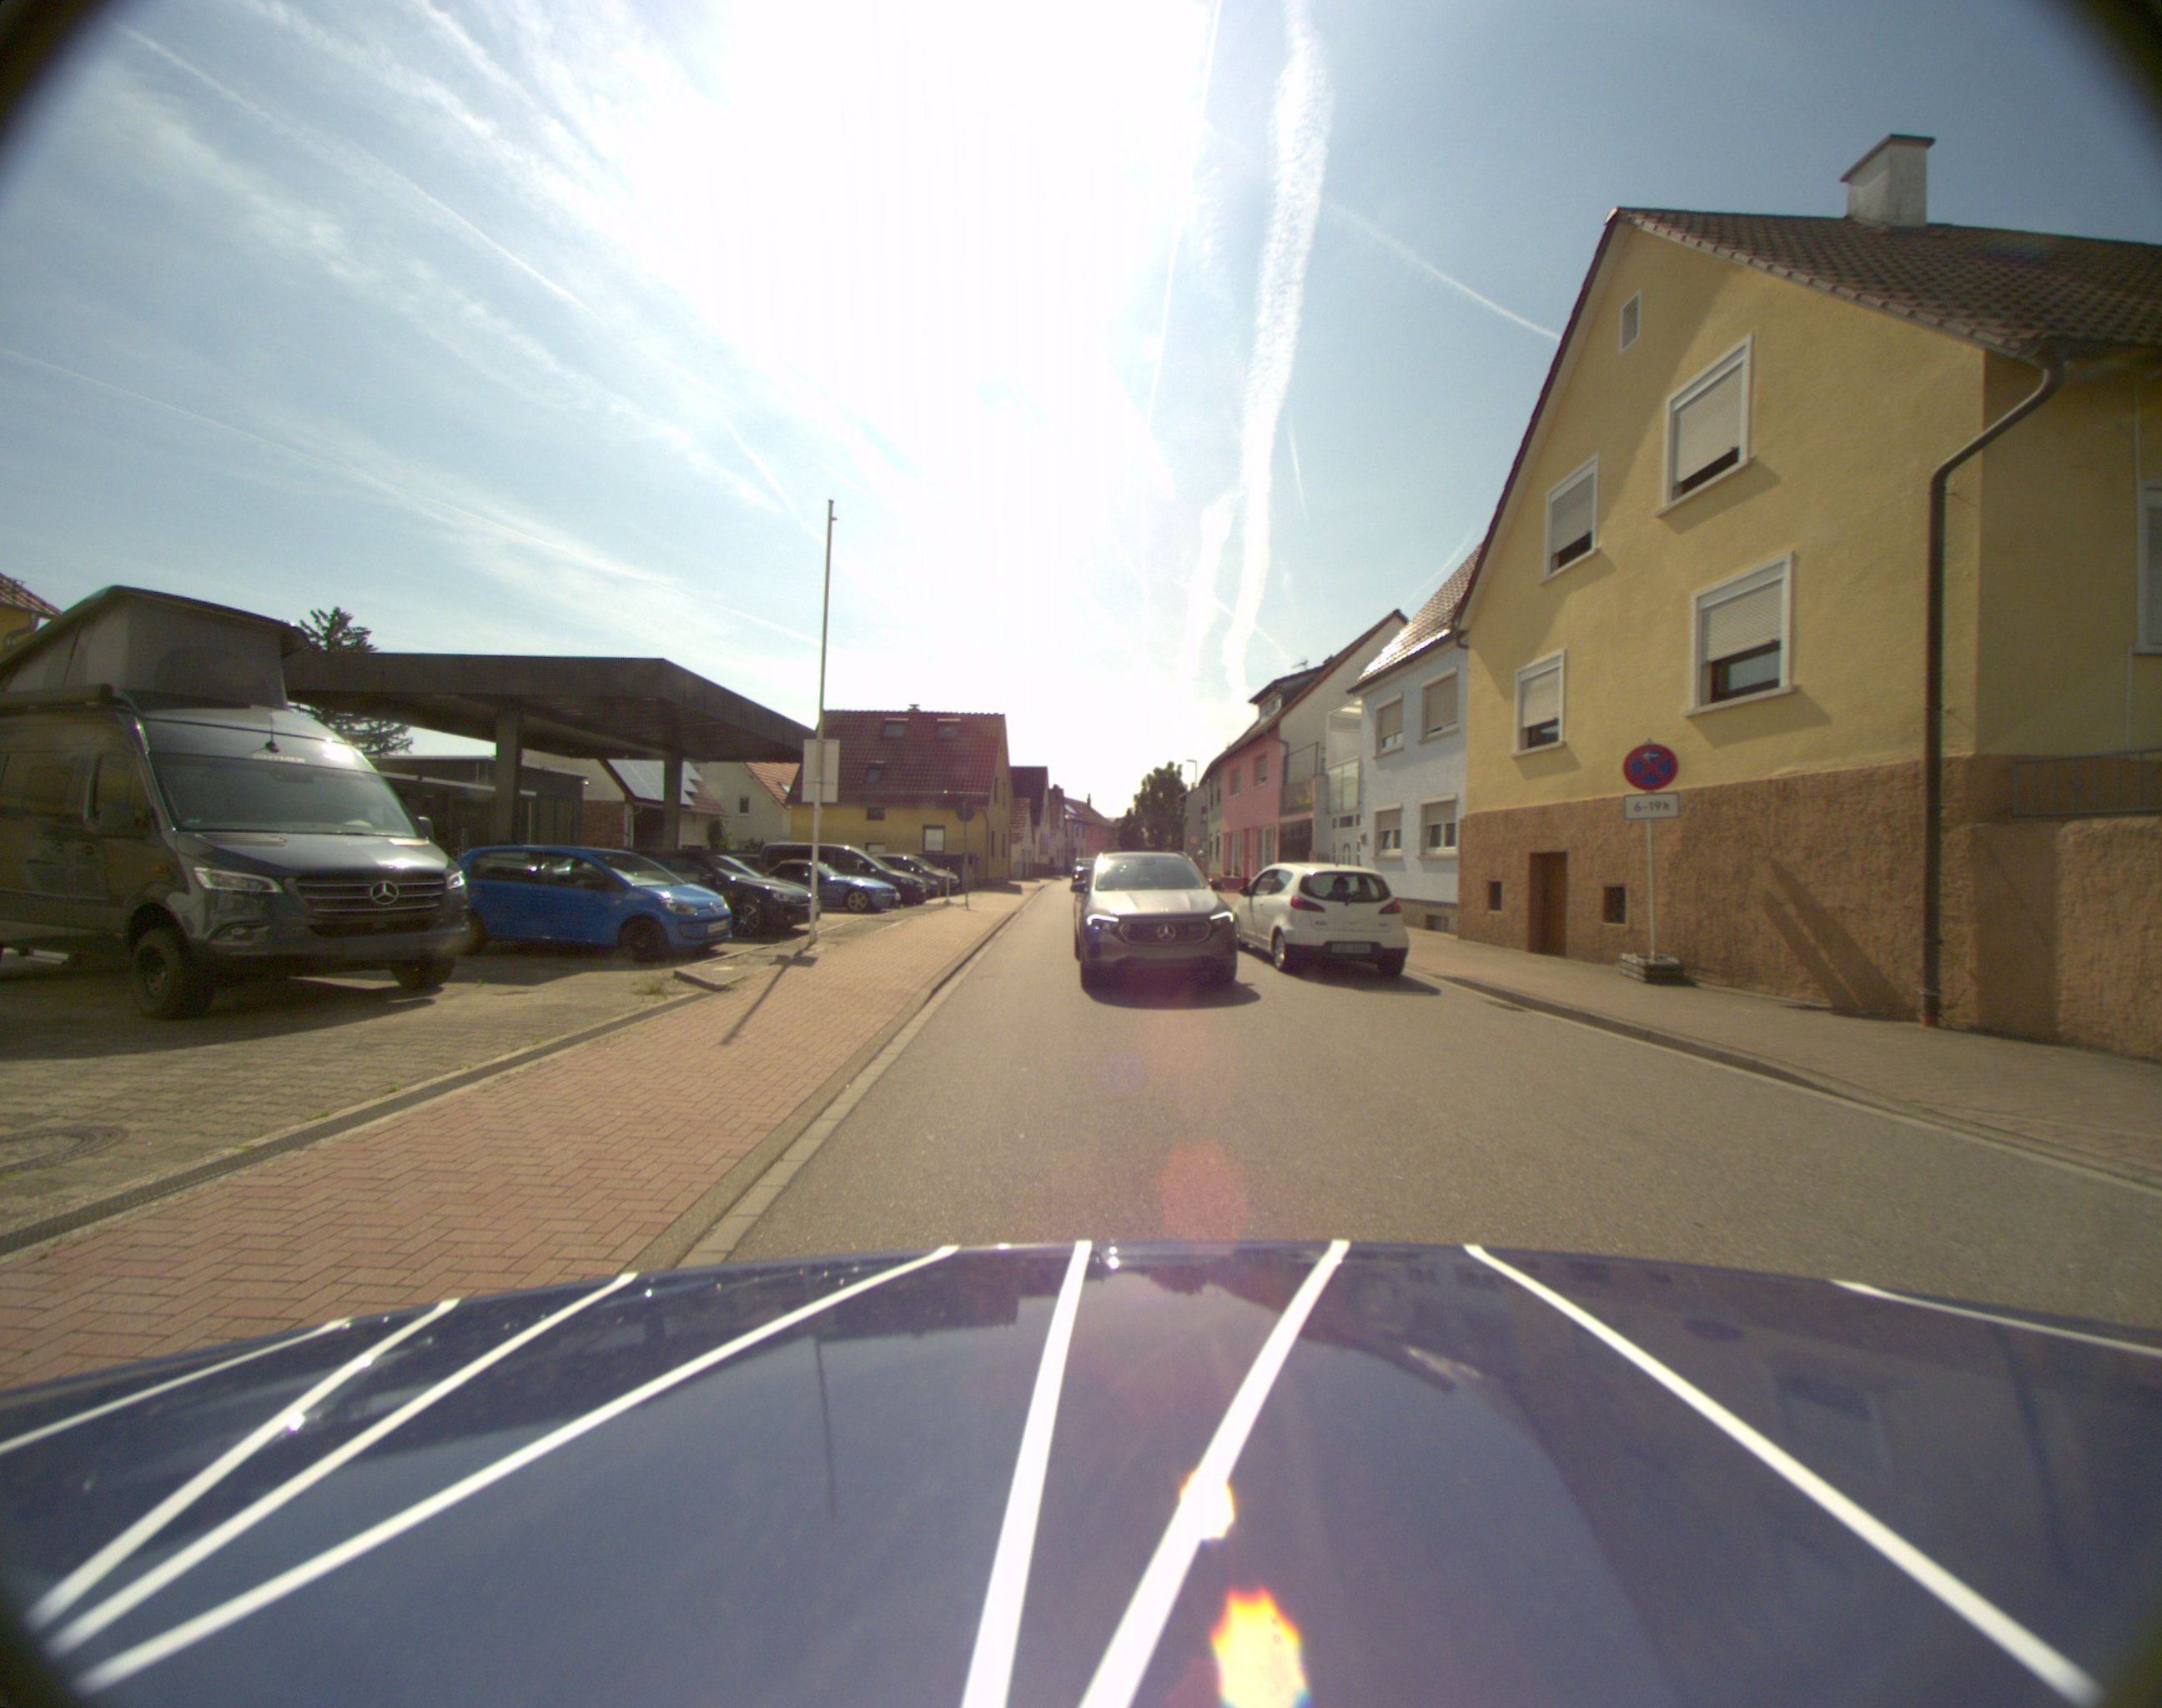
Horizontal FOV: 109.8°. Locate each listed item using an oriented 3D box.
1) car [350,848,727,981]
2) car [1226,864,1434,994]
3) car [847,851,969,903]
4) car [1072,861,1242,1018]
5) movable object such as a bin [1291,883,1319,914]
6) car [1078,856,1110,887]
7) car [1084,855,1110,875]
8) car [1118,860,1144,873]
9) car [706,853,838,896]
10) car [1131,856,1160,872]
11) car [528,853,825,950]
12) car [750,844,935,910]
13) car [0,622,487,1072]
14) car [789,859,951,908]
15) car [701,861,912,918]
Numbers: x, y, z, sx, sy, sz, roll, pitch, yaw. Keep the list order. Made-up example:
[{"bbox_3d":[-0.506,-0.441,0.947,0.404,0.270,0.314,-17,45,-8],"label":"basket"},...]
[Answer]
[{"bbox_3d":[-6.933,0.730,9.962,3.809,1.519,1.582,1,0,2],"label":"car"},{"bbox_3d":[3.423,0.954,11.240,1.734,1.533,3.812,1,0,-1],"label":"car"},{"bbox_3d":[-6.947,0.914,30.697,4.337,1.736,1.737,-4,2,7],"label":"car"},{"bbox_3d":[0.817,0.915,10.079,1.737,1.564,4.290,-1,0,1],"label":"car"},{"bbox_3d":[6.641,1.315,22.525,0.631,0.875,0.599,-2,1,1],"label":"movable object such as a bin"},{"bbox_3d":[0.764,1.013,45.677,1.792,1.643,4.392,0,1,1],"label":"car"},{"bbox_3d":[1.474,0.949,67.968,1.805,1.617,4.126,-2,1,9],"label":"car"},{"bbox_3d":[5.754,1.395,86.498,1.515,1.401,3.596,-1,1,30],"label":"car"},{"bbox_3d":[-12.501,0.812,30.842,4.547,1.499,1.989,2,1,11],"label":"car"},{"bbox_3d":[8.349,1.260,97.489,1.944,1.841,4.517,-1,1,30],"label":"car"},{"bbox_3d":[-6.786,0.759,13.024,4.170,1.472,1.728,1,0,3],"label":"car"},{"bbox_3d":[-6.722,0.614,21.739,4.645,1.799,1.966,0,1,3],"label":"car"},{"bbox_3d":[-8.852,-0.081,7.117,5.965,2.969,2.321,1,0,20],"label":"car"},{"bbox_3d":[-6.735,0.907,24.553,4.645,1.489,1.911,0,0,3],"label":"car"},{"bbox_3d":[-6.753,0.851,19.043,4.548,1.260,1.966,1,0,3],"label":"car"}]
